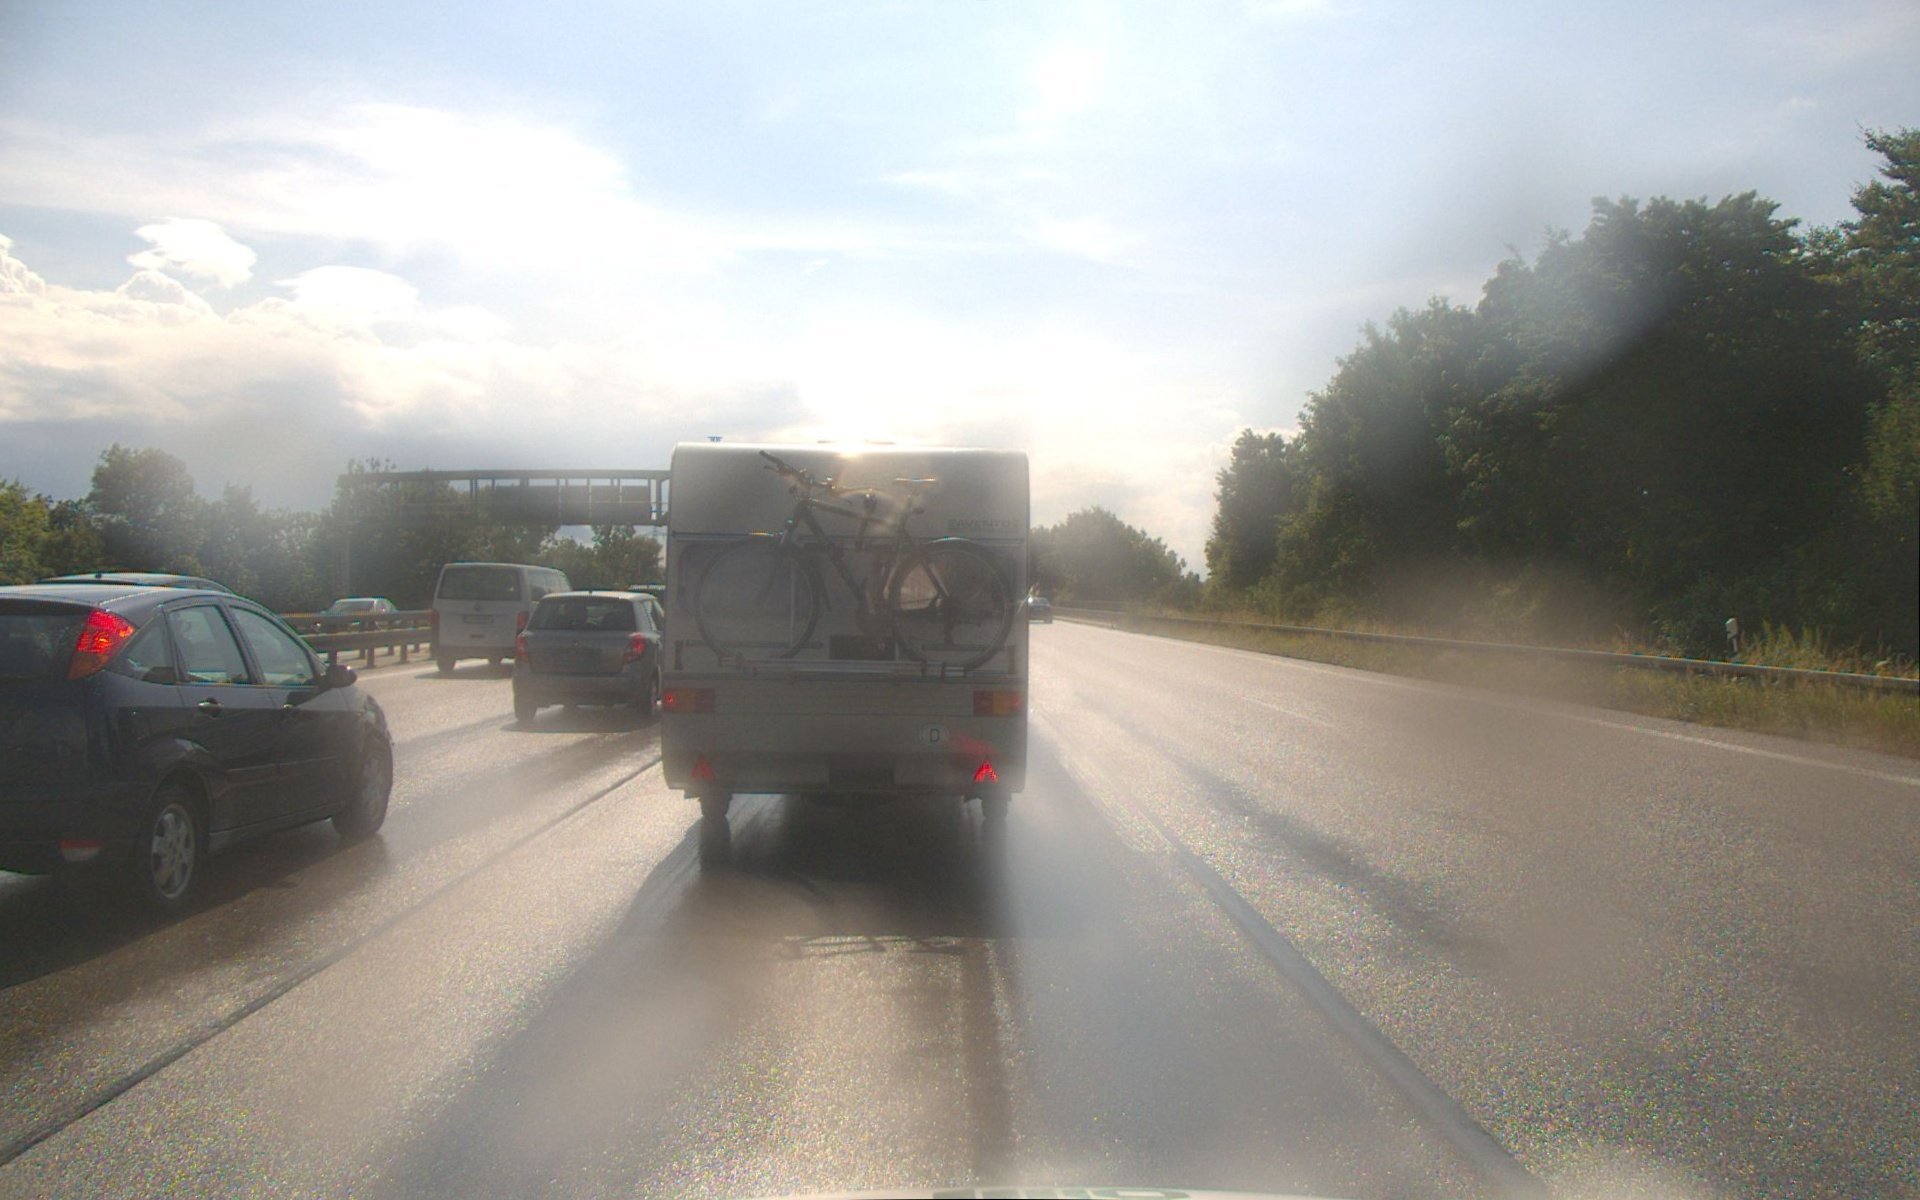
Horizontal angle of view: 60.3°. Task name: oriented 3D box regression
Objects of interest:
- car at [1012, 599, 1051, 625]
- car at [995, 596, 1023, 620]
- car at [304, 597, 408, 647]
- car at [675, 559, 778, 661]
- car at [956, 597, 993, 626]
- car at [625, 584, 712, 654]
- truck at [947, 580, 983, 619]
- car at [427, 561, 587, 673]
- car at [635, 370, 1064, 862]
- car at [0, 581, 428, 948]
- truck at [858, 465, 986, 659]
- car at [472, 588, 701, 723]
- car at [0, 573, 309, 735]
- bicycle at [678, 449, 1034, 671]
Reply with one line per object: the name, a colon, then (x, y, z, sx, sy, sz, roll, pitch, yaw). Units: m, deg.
car: (4.299, 0.713, 100.250, 1.840, 1.521, 3.996, 1, 0, -5)
car: (3.495, 0.567, 118.481, 1.838, 1.657, 3.999, 1, 0, -1)
car: (-18.040, 0.631, 49.558, 1.825, 1.415, 3.997, 1, 0, -3)
car: (-4.960, 0.203, 35.586, 1.839, 2.049, 3.997, 1, 0, -4)
car: (0.818, 0.643, 93.881, 1.799, 1.585, 3.997, 1, 0, -4)
car: (-7.449, 0.474, 42.613, 1.737, 1.691, 3.997, 1, 0, -4)
truck: (0.294, -0.050, 111.014, 2.366, 2.486, 6.052, 1, 0, 0)
car: (-8.584, 0.286, 31.809, 1.810, 1.967, 5.014, 1, 0, -2)
car: (-0.631, 0.095, 11.273, 2.361, 2.721, 3.999, 1, 0, -1)
car: (-4.279, 0.645, 8.626, 1.723, 1.468, 4.000, 1, 0, 0)
truck: (-1.125, -0.925, 45.705, 3.083, 4.707, 10.731, 0, 0, -2)
car: (-4.446, 0.608, 20.285, 1.947, 1.483, 3.826, 1, 0, -1)
car: (-8.883, 0.529, 18.465, 1.747, 1.606, 3.915, 1, 0, -1)
bicycle: (-0.557, -0.216, 9.072, 1.894, 1.161, 0.384, 1, 0, 0)
